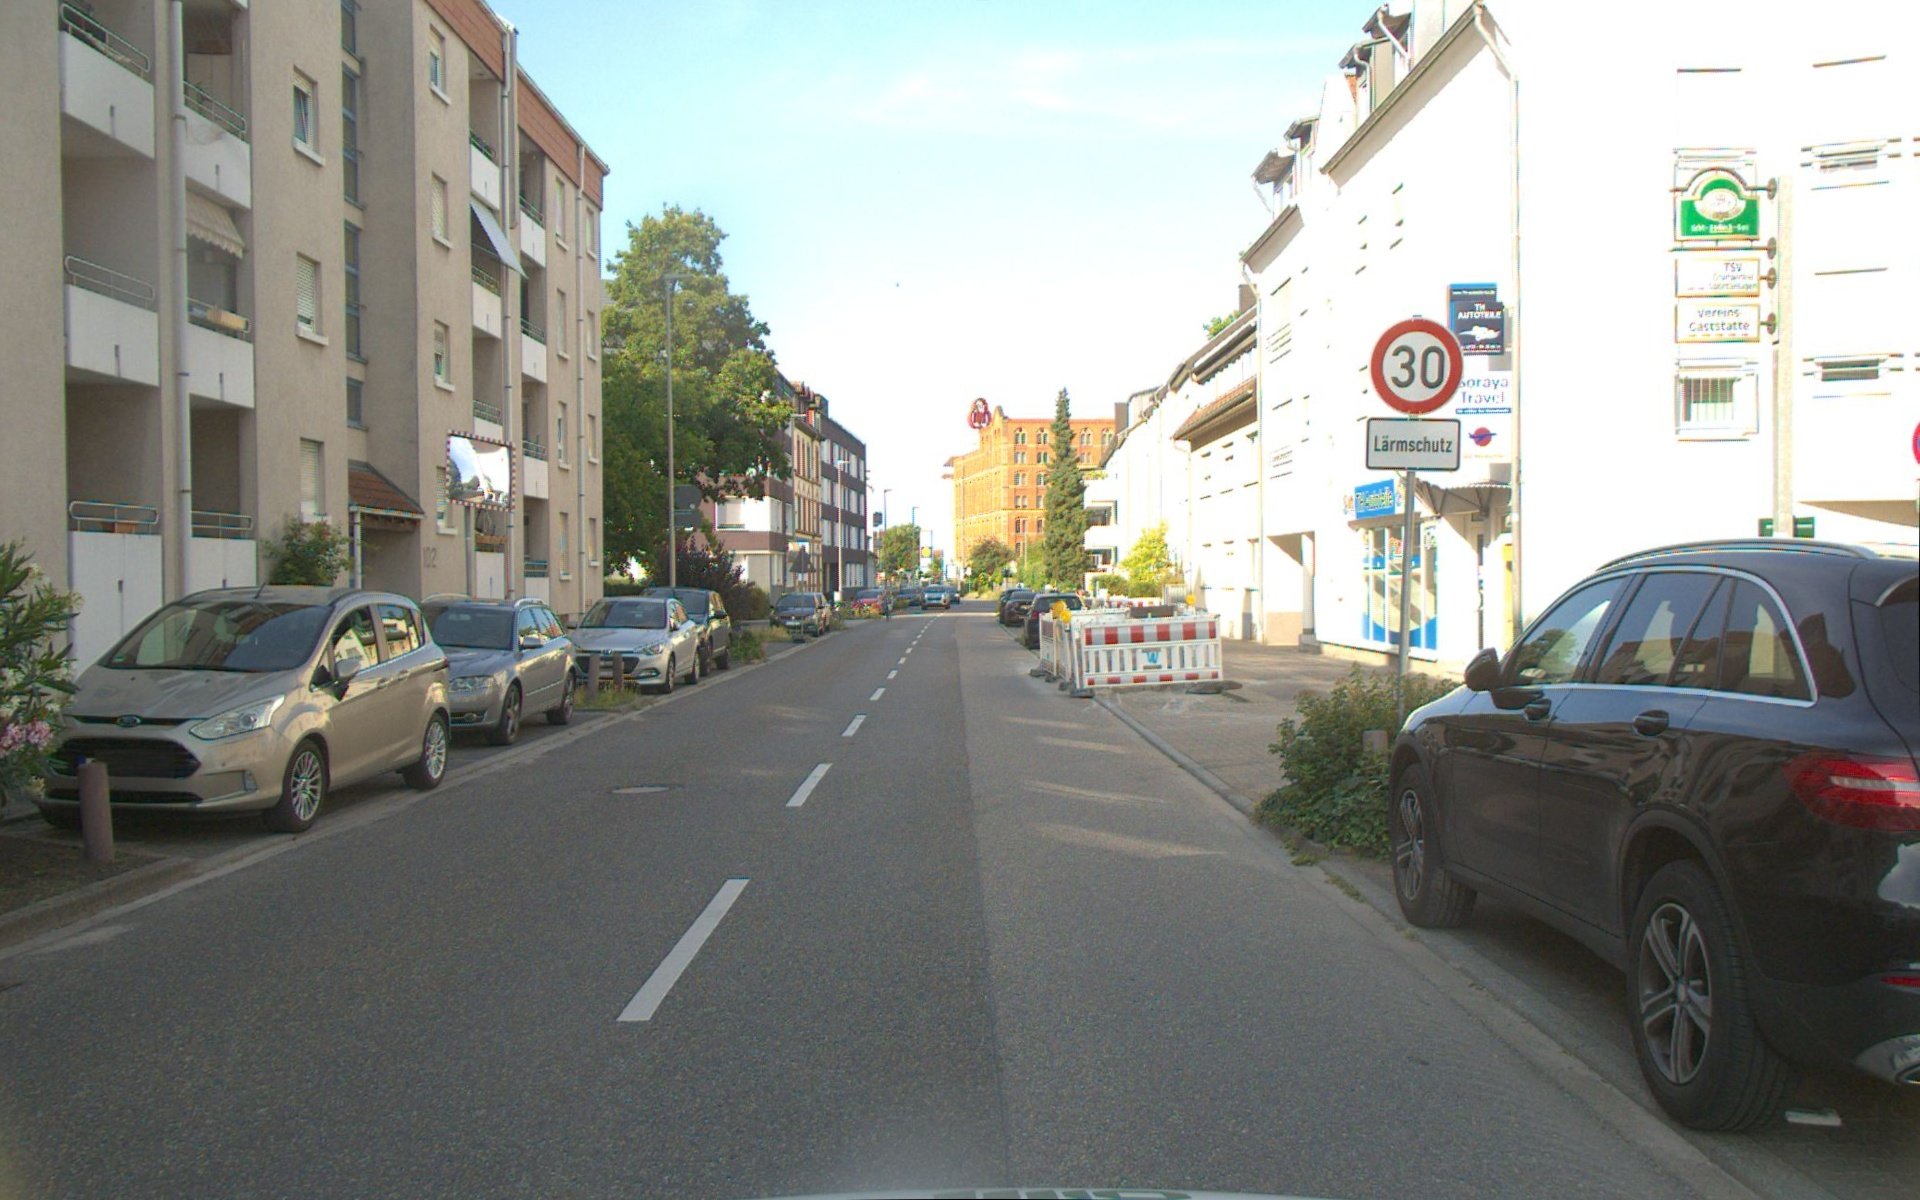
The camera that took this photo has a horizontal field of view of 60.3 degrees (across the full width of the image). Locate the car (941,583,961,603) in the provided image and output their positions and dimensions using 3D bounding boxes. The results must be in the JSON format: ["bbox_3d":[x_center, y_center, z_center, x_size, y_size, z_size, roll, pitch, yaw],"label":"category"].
[{"bbox_3d":[-0.769,-0.614,141.516,1.727,1.644,4.000,-1,0,0],"label":"car"}]

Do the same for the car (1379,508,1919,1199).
[{"bbox_3d":[2.937,0.591,5.911,1.792,1.658,4.464,-1,0,1],"label":"car"}]

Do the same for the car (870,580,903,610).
[{"bbox_3d":[-4.919,-0.354,110.924,1.952,1.945,3.689,-1,0,1],"label":"car"}]

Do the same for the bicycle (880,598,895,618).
[{"bbox_3d":[-3.605,0.387,82.086,0.596,0.959,1.811,-1,0,1],"label":"bicycle"}]

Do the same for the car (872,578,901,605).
[{"bbox_3d":[-5.368,-0.617,121.510,1.952,1.914,4.000,-1,0,0],"label":"car"}]

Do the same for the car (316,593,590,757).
[{"bbox_3d":[-5.374,0.711,18.138,1.771,1.547,4.369,0,1,-2],"label":"car"}]

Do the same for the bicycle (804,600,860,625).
[{"bbox_3d":[-5.369,0.523,69.358,2.294,0.987,0.707,-1,0,-6],"label":"bicycle"}]

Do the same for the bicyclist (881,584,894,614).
[{"bbox_3d":[-3.615,-0.038,82.104,0.578,1.467,0.750,-1,0,0],"label":"bicyclist"}]

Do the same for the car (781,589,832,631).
[{"bbox_3d":[-5.762,0.347,62.235,1.642,1.528,3.999,0,0,-2],"label":"car"}]

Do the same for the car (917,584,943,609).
[{"bbox_3d":[-2.059,-0.254,113.519,1.727,1.644,4.000,-1,0,0],"label":"car"}]

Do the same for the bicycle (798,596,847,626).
[{"bbox_3d":[-5.695,0.448,68.480,1.962,1.238,0.707,-1,0,-6],"label":"bicycle"}]

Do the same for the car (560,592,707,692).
[{"bbox_3d":[-5.214,0.616,26.881,1.652,1.480,4.140,0,1,-1],"label":"car"}]

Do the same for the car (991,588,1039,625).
[{"bbox_3d":[2.279,0.254,69.794,1.821,1.497,4.000,-1,0,-1],"label":"car"}]

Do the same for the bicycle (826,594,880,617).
[{"bbox_3d":[-5.611,0.285,87.087,2.716,1.164,1.143,-1,0,1],"label":"bicycle"}]

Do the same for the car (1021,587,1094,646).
[{"bbox_3d":[2.649,0.409,45.577,1.792,1.508,3.943,-1,1,1],"label":"car"}]

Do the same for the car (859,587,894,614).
[{"bbox_3d":[-4.801,0.012,95.023,1.802,1.489,3.585,-1,0,0],"label":"car"}]

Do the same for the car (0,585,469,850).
[{"bbox_3d":[-5.023,0.690,11.943,1.691,1.582,3.966,0,1,1],"label":"car"}]

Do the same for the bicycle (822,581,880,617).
[{"bbox_3d":[-5.619,-0.044,85.314,2.858,1.808,1.202,-1,0,1],"label":"bicycle"}]

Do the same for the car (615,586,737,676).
[{"bbox_3d":[-5.417,0.541,32.029,1.651,1.631,4.369,0,0,-1],"label":"car"}]

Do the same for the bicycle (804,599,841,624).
[{"bbox_3d":[-5.833,0.487,70.069,1.554,1.059,0.707,-1,0,-6],"label":"bicycle"}]

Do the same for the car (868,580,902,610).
[{"bbox_3d":[-4.772,-0.327,105.807,1.952,1.867,3.689,-1,0,1],"label":"car"}]

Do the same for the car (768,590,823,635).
[{"bbox_3d":[-5.598,0.396,56.516,1.541,1.445,3.803,0,1,-1],"label":"car"}]
